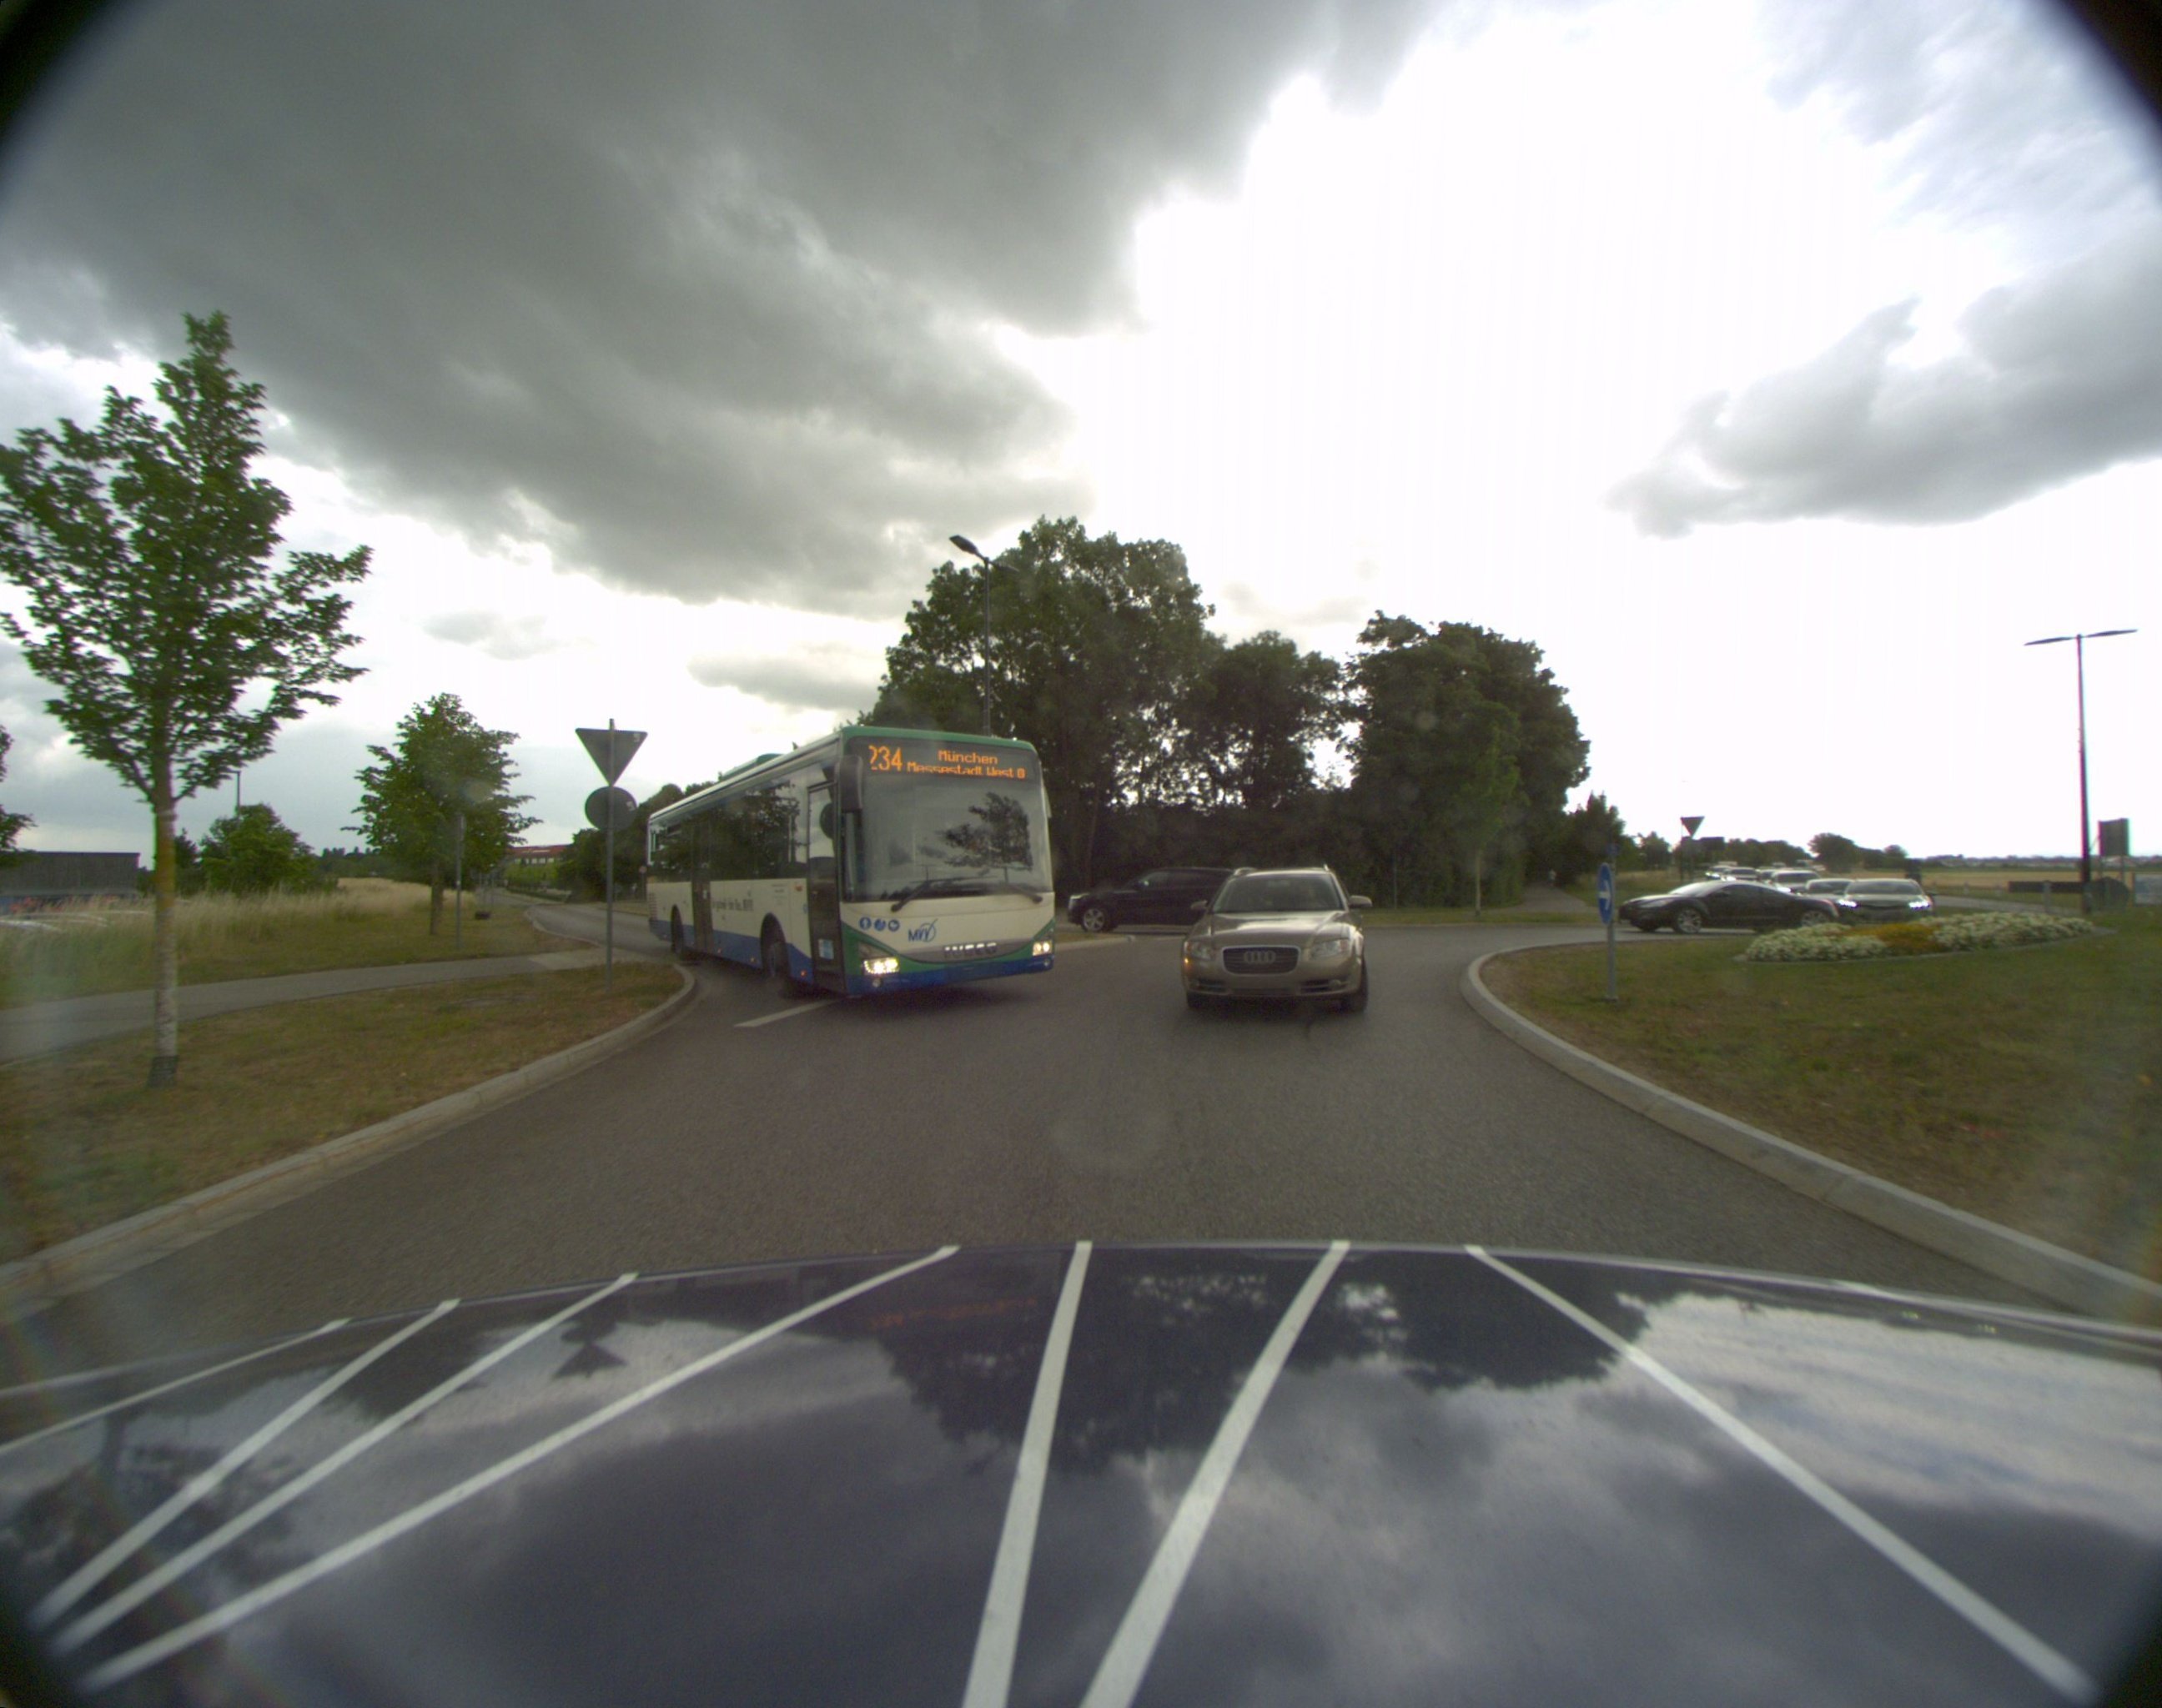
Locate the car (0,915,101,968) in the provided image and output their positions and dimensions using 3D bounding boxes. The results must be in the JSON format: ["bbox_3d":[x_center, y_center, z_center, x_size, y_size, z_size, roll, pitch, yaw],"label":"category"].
[{"bbox_3d":[-33.690,2.728,23.433,3.895,1.455,1.694,0,-1,-28],"label":"car"}]

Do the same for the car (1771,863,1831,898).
[{"bbox_3d":[32.711,1.170,34.591,1.777,1.489,3.819,-2,-1,41],"label":"car"}]

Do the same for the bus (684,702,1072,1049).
[{"bbox_3d":[-3.215,0.190,10.415,2.529,3.240,6.531,-4,2,-39],"label":"bus"}]

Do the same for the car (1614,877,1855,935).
[{"bbox_3d":[15.868,1.231,18.702,4.107,1.299,1.833,0,-1,13],"label":"car"}]

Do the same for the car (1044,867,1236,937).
[{"bbox_3d":[1.537,1.189,19.248,4.580,1.564,2.002,1,-3,9],"label":"car"}]

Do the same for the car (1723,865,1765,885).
[{"bbox_3d":[46.168,1.465,52.957,1.777,1.310,3.818,-2,-1,35],"label":"car"}]

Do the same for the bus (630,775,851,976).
[{"bbox_3d":[-6.959,0.322,15.119,2.529,3.240,5.446,-4,2,-39],"label":"bus"}]

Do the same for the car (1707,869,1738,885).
[{"bbox_3d":[57.876,2.078,68.621,1.777,1.310,3.818,-2,-1,35],"label":"car"}]

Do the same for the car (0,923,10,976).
[{"bbox_3d":[-31.958,2.694,20.060,3.895,1.455,1.694,0,-1,-28],"label":"car"}]

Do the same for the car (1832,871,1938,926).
[{"bbox_3d":[23.425,1.269,22.275,1.836,1.448,4.146,-1,-3,42],"label":"car"}]

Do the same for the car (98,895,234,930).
[{"bbox_3d":[-43.990,2.778,36.681,4.008,1.435,1.879,0,-1,-43],"label":"car"}]

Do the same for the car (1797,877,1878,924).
[{"bbox_3d":[27.439,1.651,27.656,1.777,1.489,3.819,-2,-1,41],"label":"car"}]

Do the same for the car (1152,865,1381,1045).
[{"bbox_3d":[2.359,0.874,8.577,1.779,1.456,4.549,-1,-1,23],"label":"car"}]
